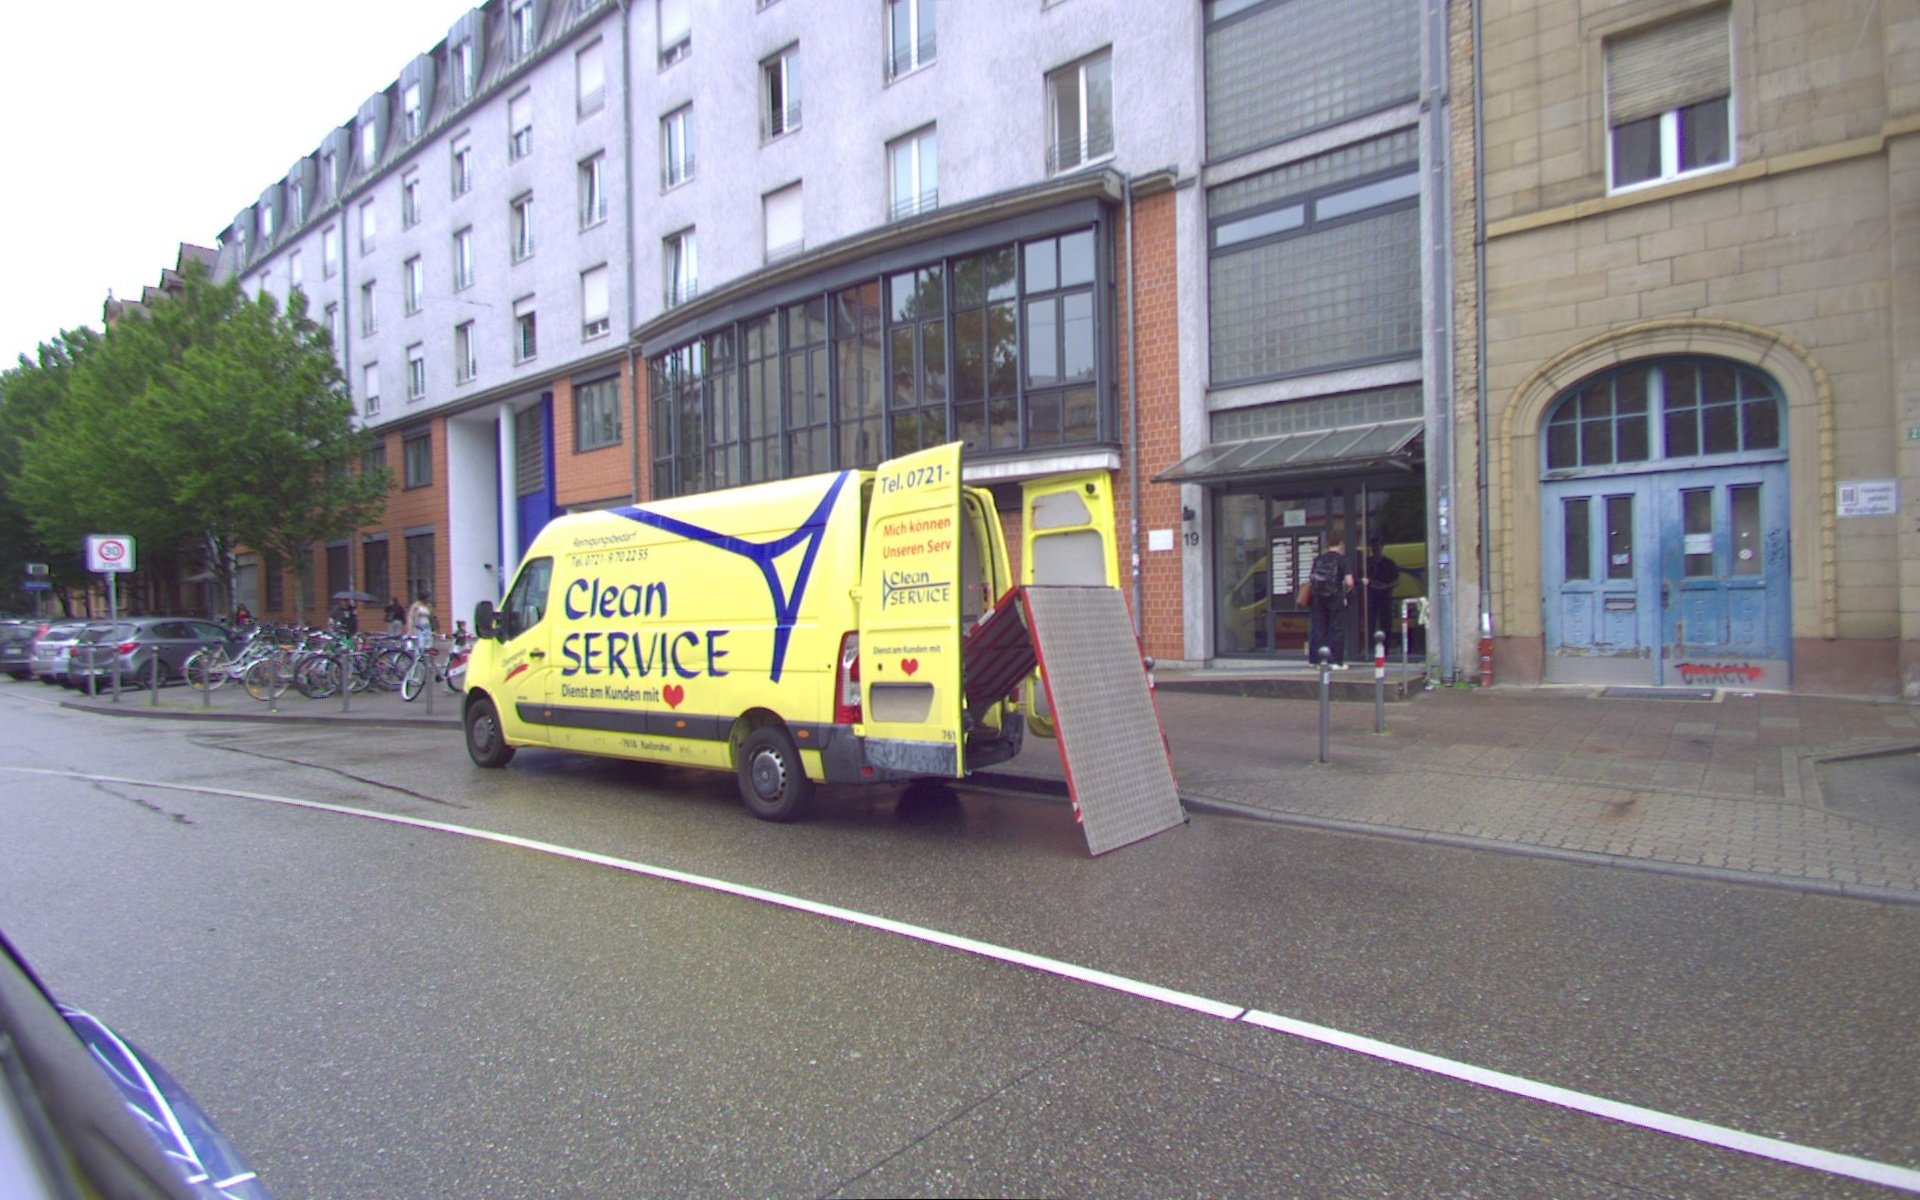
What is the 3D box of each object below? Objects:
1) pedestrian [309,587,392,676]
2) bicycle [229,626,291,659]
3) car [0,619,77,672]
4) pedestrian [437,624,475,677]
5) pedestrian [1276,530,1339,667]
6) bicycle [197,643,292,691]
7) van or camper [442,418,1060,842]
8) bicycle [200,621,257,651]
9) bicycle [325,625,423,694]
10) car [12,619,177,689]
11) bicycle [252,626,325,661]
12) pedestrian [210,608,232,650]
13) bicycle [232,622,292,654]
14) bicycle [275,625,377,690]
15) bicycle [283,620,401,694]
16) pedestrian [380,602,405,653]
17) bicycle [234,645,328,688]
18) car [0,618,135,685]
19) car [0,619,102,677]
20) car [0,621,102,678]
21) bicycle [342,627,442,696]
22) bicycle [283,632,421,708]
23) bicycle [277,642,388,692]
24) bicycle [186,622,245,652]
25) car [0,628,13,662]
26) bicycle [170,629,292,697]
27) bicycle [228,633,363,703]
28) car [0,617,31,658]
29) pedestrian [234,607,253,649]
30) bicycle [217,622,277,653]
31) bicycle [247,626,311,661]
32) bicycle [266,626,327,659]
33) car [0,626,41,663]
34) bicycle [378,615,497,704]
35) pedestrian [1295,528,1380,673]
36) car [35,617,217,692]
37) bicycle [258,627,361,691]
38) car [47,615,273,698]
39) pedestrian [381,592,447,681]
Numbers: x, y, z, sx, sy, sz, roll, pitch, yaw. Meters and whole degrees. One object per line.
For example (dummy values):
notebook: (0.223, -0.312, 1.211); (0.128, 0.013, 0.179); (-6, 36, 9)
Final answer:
pedestrian: (-13.983, 0.707, 23.233); (1.055, 1.894, 1.213); (-2, 3, 40)
bicycle: (-22.374, 1.335, 32.370); (0.444, 0.992, 1.573); (-1, -1, 32)
car: (-30.147, 1.443, 32.408); (1.138, 1.567, 2.672); (-2, 0, 11)
pedestrian: (-10.769, 1.074, 21.631); (0.527, 1.058, 0.479); (-2, 3, 40)
pedestrian: (4.599, -0.015, 13.423); (0.467, 1.761, 0.608); (0, -1, -23)
bicycle: (-14.263, 1.321, 20.199); (0.497, 0.811, 1.454); (-1, 1, 43)
van or camper: (-2.195, 0.251, 9.036); (5.936, 2.631, 2.174); (-2, -1, 40)
bicycle: (-25.905, 1.268, 35.870); (0.464, 0.992, 1.573); (-1, -1, 32)
bicycle: (-10.464, 1.040, 18.088); (1.439, 1.111, 0.462); (-2, 1, -35)
car: (-21.390, 1.284, 25.145); (1.432, 1.514, 3.078); (-2, 0, 0)
bicycle: (-20.486, 1.315, 30.905); (0.444, 0.992, 1.830); (-1, -1, 32)
pedestrian: (-29.092, 1.151, 39.844); (0.372, 1.622, 0.598); (-2, -1, 39)
bicycle: (-22.709, 1.227, 32.939); (0.444, 0.992, 1.573); (-1, -1, 32)
bicycle: (-12.115, 1.075, 19.398); (0.518, 1.114, 1.596); (-1, 1, 27)
bicycle: (-11.251, 1.016, 18.491); (0.518, 1.203, 1.798); (-1, 1, 27)
pedestrian: (-17.473, 0.848, 31.178); (0.547, 1.541, 0.509); (-2, -1, 37)
bicycle: (-13.524, 1.313, 20.179); (0.497, 0.727, 1.454); (-1, 1, 43)
car: (-23.797, 1.310, 26.766); (1.432, 1.564, 3.078); (-2, 0, 0)
car: (-28.048, 1.439, 30.621); (1.358, 1.567, 2.971); (-2, 0, 11)
car: (-26.188, 1.393, 28.939); (1.177, 1.461, 2.502); (-2, 0, 0)
bicycle: (-9.862, 1.046, 17.603); (0.418, 1.072, 1.442); (-1, 1, 44)
bicycle: (-9.987, 1.114, 16.674); (1.832, 1.081, 0.610); (-3, 1, -44)
bicycle: (-11.680, 1.226, 18.889); (0.455, 0.767, 1.757); (-1, 1, 27)
bicycle: (-25.604, 1.261, 34.842); (0.464, 0.992, 1.573); (-1, -1, 32)
car: (-43.017, 1.961, 43.413); (1.663, 1.502, 3.798); (-1, -1, -9)
bicycle: (-13.764, 1.167, 19.152); (0.472, 1.114, 1.791); (-1, 1, 36)
bicycle: (-10.990, 1.097, 16.785); (0.519, 1.000, 1.778); (-1, 1, 38)
car: (-45.804, 1.767, 46.835); (1.666, 1.910, 4.329); (-1, -1, 0)
pedestrian: (-28.494, 1.111, 40.243); (0.425, 1.622, 0.508); (-2, -1, 41)
bicycle: (-23.662, 1.238, 33.615); (0.464, 0.992, 1.573); (-1, -1, 32)
bicycle: (-20.925, 1.319, 31.118); (0.444, 0.992, 1.573); (-1, -1, 32)
bicycle: (-20.936, 1.327, 31.945); (0.444, 0.992, 1.573); (-1, -1, 32)
car: (-40.869, 1.886, 42.417); (1.663, 1.502, 3.798); (-1, -1, -9)
bicycle: (-8.416, 0.926, 16.398); (0.760, 1.225, 1.917); (-1, 3, 5)
pedestrian: (4.753, 0.010, 12.718); (0.785, 1.741, 0.997); (-2, -1, 32)
car: (-19.302, 1.224, 23.578); (1.436, 1.514, 3.070); (-2, 0, 9)
bicycle: (-12.669, 1.134, 19.749); (0.519, 1.114, 1.591); (-1, 1, 36)
car: (-17.015, 1.146, 21.753); (1.721, 1.514, 3.613); (-1, 1, 9)
pedestrian: (-11.184, 0.735, 20.739); (0.859, 1.719, 0.817); (-2, 3, 41)
